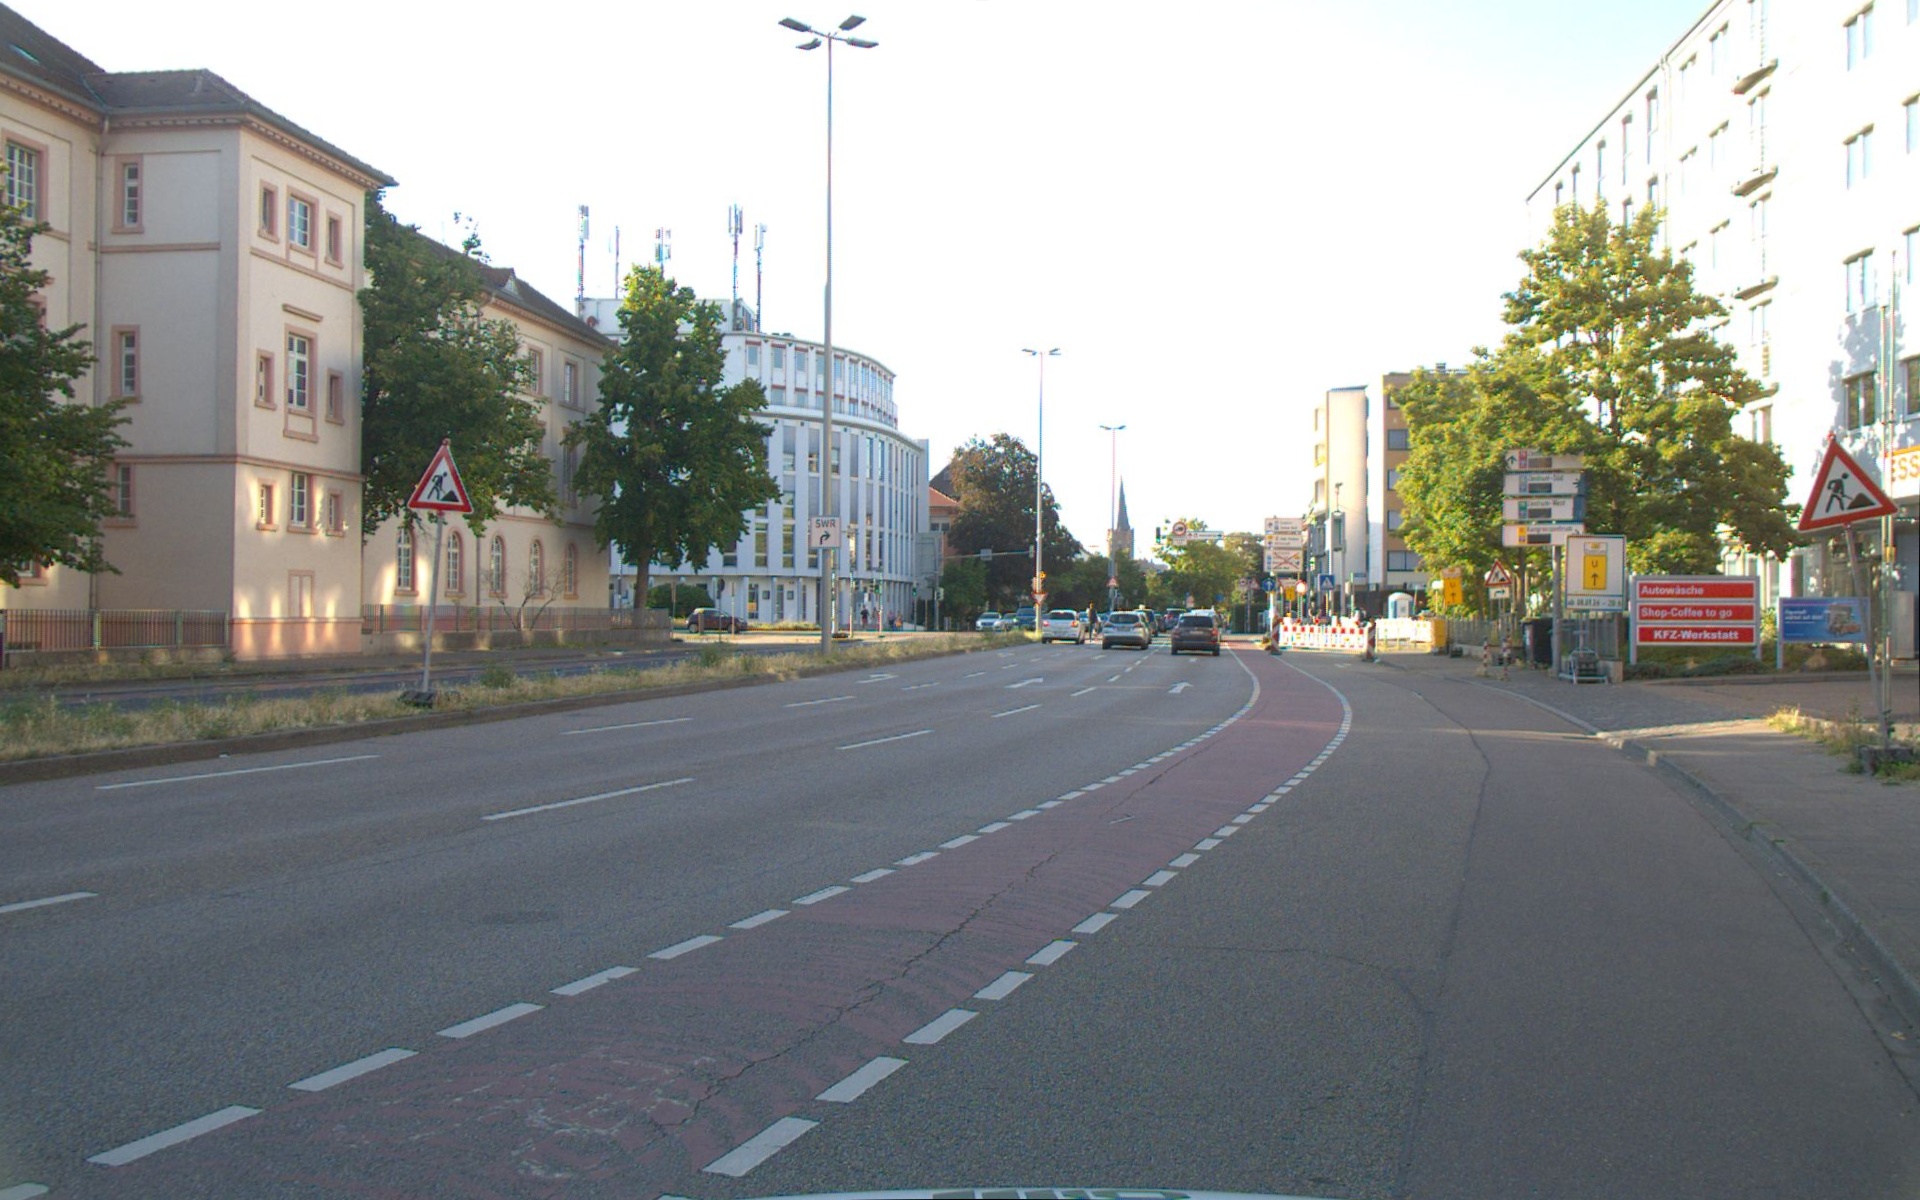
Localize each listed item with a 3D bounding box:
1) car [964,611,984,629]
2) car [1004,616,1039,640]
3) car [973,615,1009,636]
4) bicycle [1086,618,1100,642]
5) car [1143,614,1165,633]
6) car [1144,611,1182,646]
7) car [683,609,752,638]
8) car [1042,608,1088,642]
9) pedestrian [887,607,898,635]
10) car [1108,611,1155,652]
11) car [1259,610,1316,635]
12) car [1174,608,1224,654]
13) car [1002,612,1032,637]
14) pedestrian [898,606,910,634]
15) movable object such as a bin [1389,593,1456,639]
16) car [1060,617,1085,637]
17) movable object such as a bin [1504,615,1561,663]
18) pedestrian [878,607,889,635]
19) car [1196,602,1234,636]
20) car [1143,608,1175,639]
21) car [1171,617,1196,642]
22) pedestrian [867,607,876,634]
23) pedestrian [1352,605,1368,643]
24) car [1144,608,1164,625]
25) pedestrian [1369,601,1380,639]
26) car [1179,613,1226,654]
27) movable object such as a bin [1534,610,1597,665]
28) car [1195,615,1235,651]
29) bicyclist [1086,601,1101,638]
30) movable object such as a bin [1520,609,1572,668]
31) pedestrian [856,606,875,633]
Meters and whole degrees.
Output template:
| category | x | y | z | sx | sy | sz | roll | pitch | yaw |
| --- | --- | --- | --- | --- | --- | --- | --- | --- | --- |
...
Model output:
| category | x | y | z | sx | sy | sz | roll | pitch | yaw |
| --- | --- | --- | --- | --- | --- | --- | --- | --- | --- |
| car | 1.326 | 1.836 | 151.716 | 1.803 | 1.599 | 4.000 | 0 | -1 | 1 |
| car | 4.192 | 1.868 | 111.830 | 1.951 | 1.606 | 4.902 | 0 | -1 | 7 |
| car | 2.230 | 1.830 | 118.800 | 1.951 | 1.438 | 4.447 | -1 | -1 | 9 |
| bicycle | 6.403 | 1.448 | 79.539 | 0.685 | 1.119 | 2.259 | 0 | -1 | 5 |
| car | 15.023 | 1.817 | 128.226 | 1.554 | 1.452 | 3.826 | 0 | -1 | 9 |
| car | 9.546 | 1.325 | 77.588 | 1.711 | 1.591 | 4.053 | 0 | -1 | 8 |
| car | -14.324 | 1.408 | 97.797 | 3.728 | 1.557 | 1.864 | -1 | -3 | 5 |
| car | 4.749 | 1.118 | 74.659 | 1.649 | 1.482 | 4.003 | 1 | 0 | 10 |
| pedestrian | -4.608 | 1.437 | 112.583 | 0.646 | 1.901 | 0.779 | 0 | -1 | 6 |
| car | 6.884 | 1.248 | 66.190 | 1.711 | 1.591 | 4.053 | 0 | -1 | 8 |
| car | 25.806 | 1.761 | 130.452 | 4.271 | 1.910 | 2.001 | 0 | -1 | 7 |
| car | 8.554 | 1.091 | 59.196 | 1.711 | 1.591 | 4.053 | 0 | -1 | 8 |
| car | 4.486 | 1.947 | 129.972 | 1.801 | 1.848 | 4.003 | -2 | -3 | 10 |
| pedestrian | -3.806 | 1.379 | 112.340 | 0.613 | 1.901 | 1.128 | 0 | -1 | 9 |
| movable object such as a bin | 24.601 | 0.843 | 88.101 | 3.257 | 2.425 | 1.530 | 0 | -1 | 7 |
| car | 8.492 | 2.007 | 124.681 | 1.808 | 1.487 | 4.052 | 0 | -1 | 5 |
| movable object such as a bin | 16.460 | 1.108 | 47.575 | 1.190 | 1.368 | 1.053 | 0 | -1 | -7 |
| pedestrian | -5.248 | 1.451 | 114.052 | 0.743 | 1.874 | 0.818 | 0 | -1 | -2 |
| car | 12.886 | 0.960 | 83.612 | 1.781 | 1.669 | 4.003 | 0 | -1 | 7 |
| car | 10.983 | 1.284 | 90.964 | 1.629 | 1.686 | 4.003 | 0 | -1 | 9 |
| car | 15.365 | 2.012 | 113.506 | 1.629 | 1.686 | 4.003 | 0 | -1 | 9 |
| pedestrian | -6.113 | 1.409 | 114.082 | 0.647 | 1.891 | 0.778 | 0 | -1 | -4 |
| pedestrian | 19.611 | 1.168 | 81.068 | 0.725 | 1.831 | 0.716 | 0 | -1 | 10 |
| car | 16.665 | 1.388 | 142.054 | 1.554 | 1.452 | 3.826 | 0 | -1 | 9 |
| pedestrian | 20.444 | 0.987 | 81.618 | 0.509 | 1.901 | 0.615 | 0 | -1 | 18 |
| car | 9.787 | 1.367 | 66.674 | 1.718 | 1.516 | 3.725 | -2 | -3 | 10 |
| movable object such as a bin | 16.760 | 1.025 | 45.815 | 1.299 | 1.511 | 1.210 | 0 | -1 | -2 |
| car | 11.839 | 1.505 | 76.661 | 1.691 | 1.606 | 3.726 | 0 | -1 | 10 |
| bicyclist | 6.414 | 0.938 | 79.396 | 0.676 | 1.758 | 0.988 | 0 | -1 | 5 |
| movable object such as a bin | 15.654 | 1.049 | 44.250 | 1.069 | 1.534 | 1.255 | 0 | -3 | 8 |
| pedestrian | -7.128 | 1.453 | 124.588 | 1.069 | 2.049 | 1.036 | 0 | -1 | 19 |
